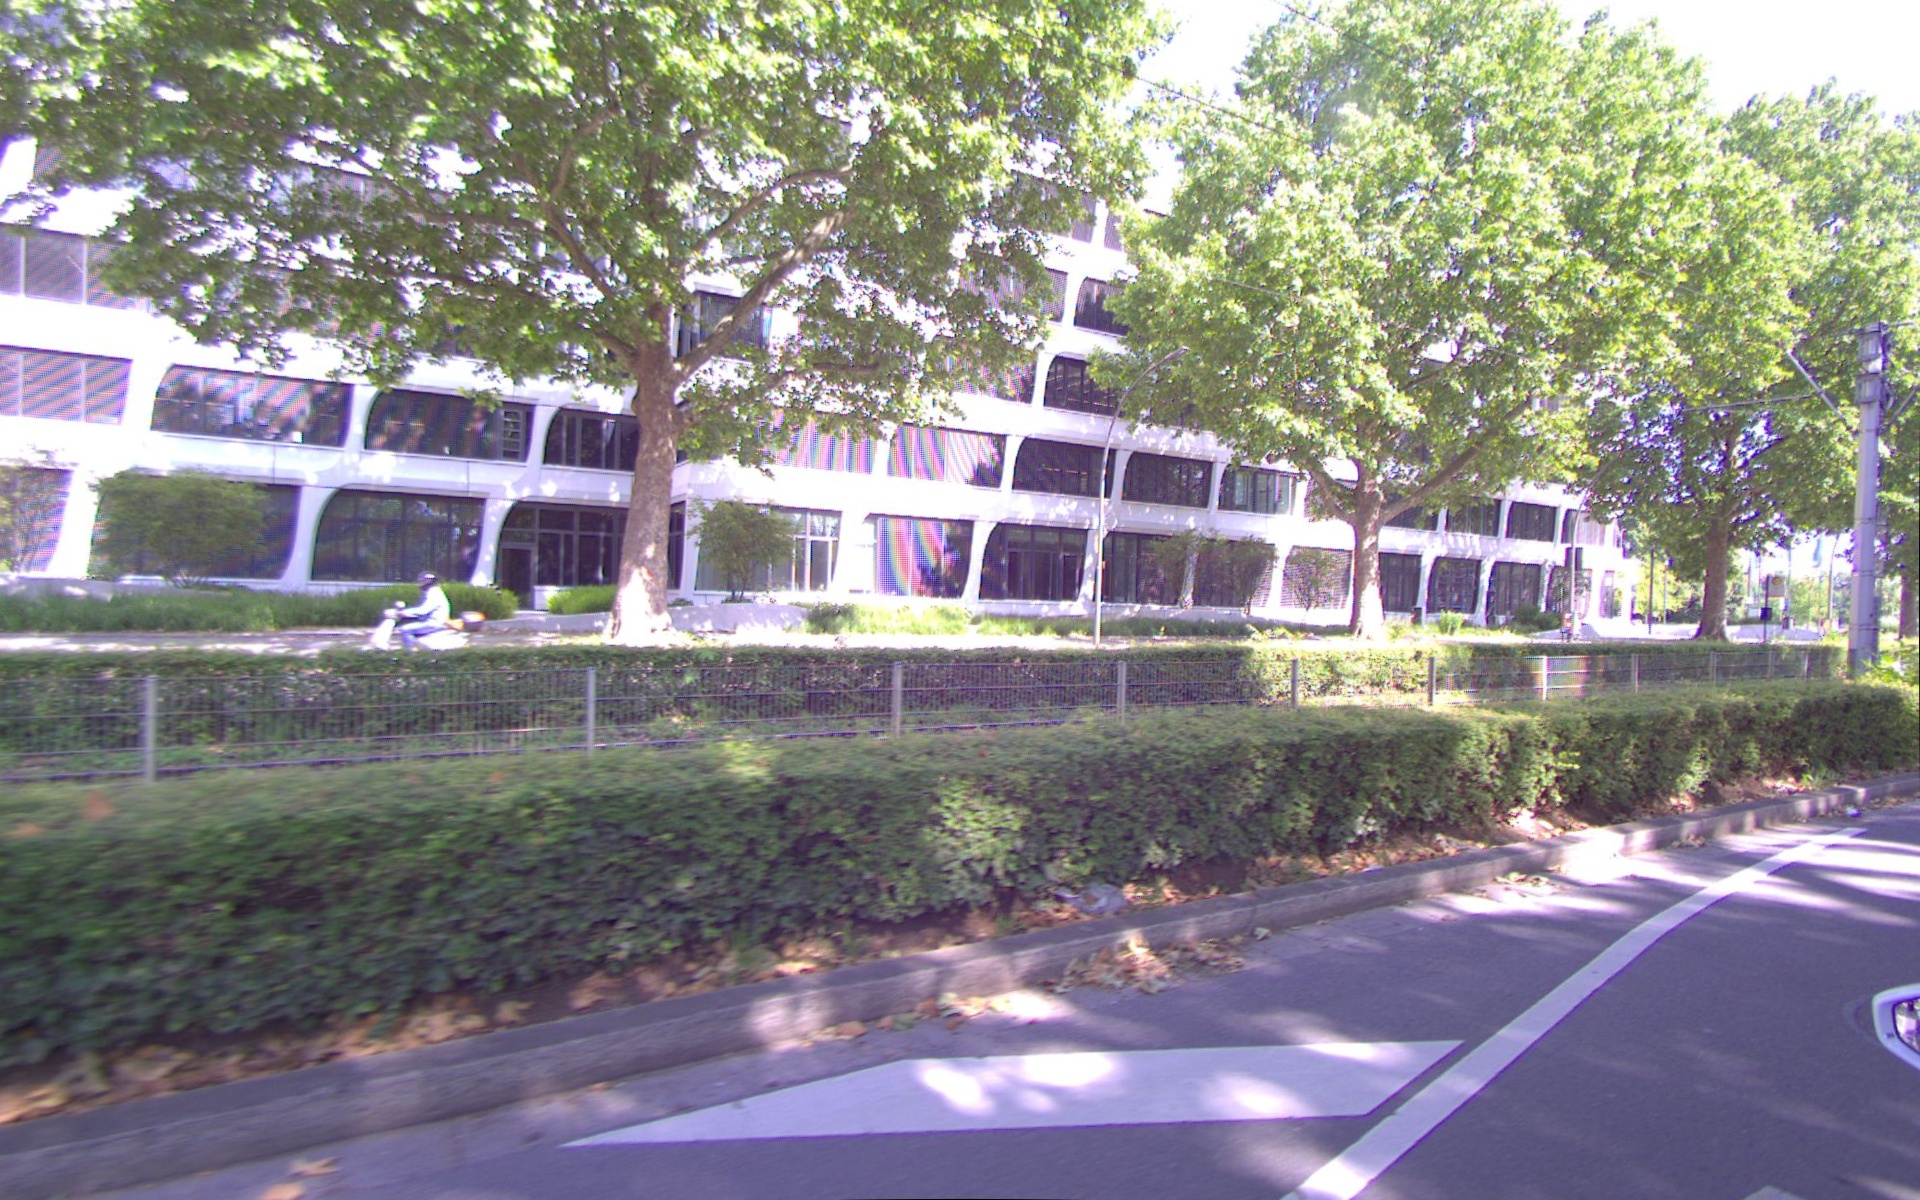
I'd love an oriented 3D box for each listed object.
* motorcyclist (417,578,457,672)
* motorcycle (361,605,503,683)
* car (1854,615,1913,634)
[{"bbox_3d":[-8.461,0.392,16.237,0.527,1.477,0.578,1,1,-30],"label":"motorcyclist"},{"bbox_3d":[-8.499,0.696,16.220,1.976,1.190,0.629,1,1,-30],"label":"motorcycle"},{"bbox_3d":[88.283,2.340,96.044,1.748,1.569,3.830,1,1,-29],"label":"car"}]
